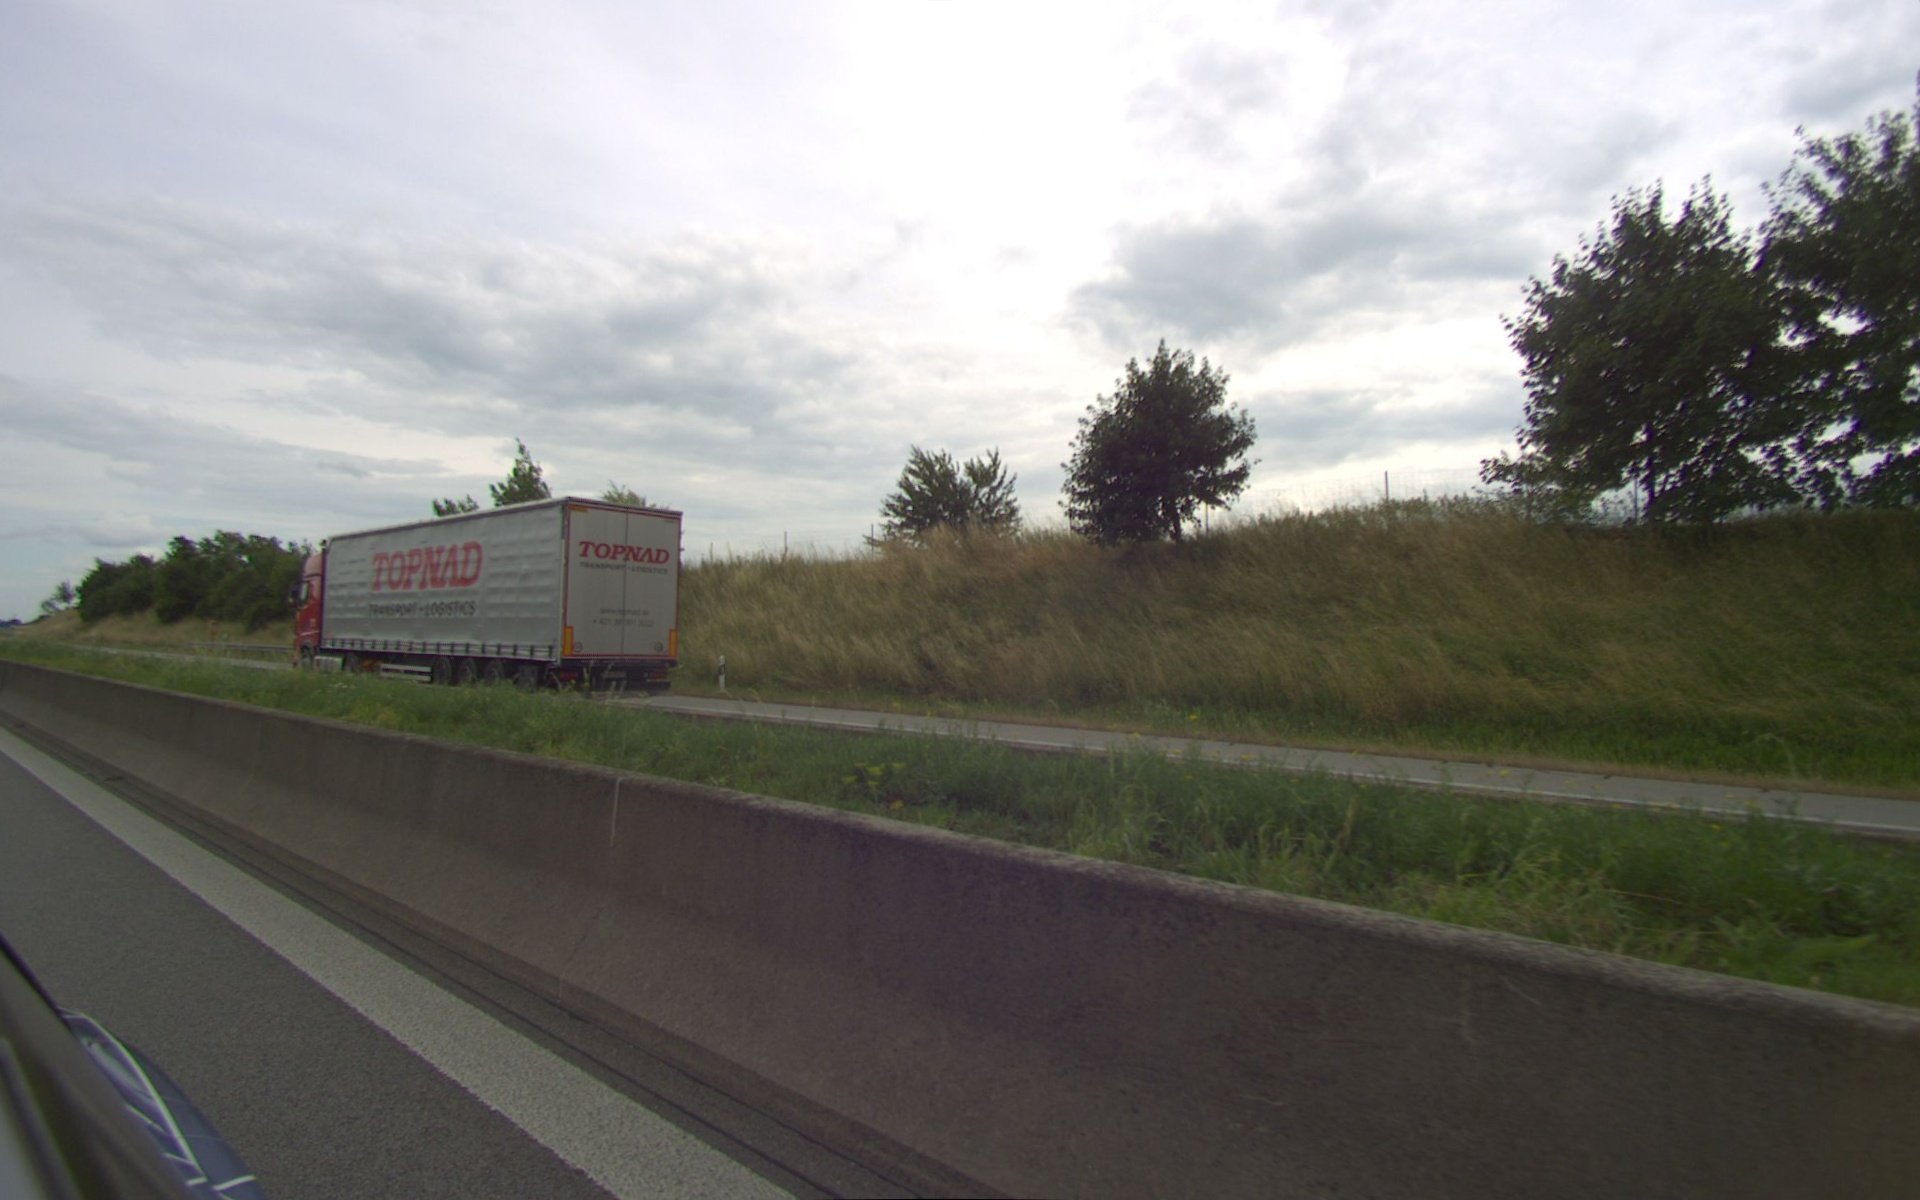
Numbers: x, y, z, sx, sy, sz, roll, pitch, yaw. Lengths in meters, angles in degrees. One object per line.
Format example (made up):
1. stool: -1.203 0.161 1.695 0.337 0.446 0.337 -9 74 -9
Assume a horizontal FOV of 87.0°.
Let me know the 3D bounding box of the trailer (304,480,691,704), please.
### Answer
1. trailer: -11.866 0.094 24.433 14.590 4.120 2.678 -2 -4 41

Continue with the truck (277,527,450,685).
1. truck: -17.260 0.283 29.196 5.162 4.120 2.678 -2 -4 41
